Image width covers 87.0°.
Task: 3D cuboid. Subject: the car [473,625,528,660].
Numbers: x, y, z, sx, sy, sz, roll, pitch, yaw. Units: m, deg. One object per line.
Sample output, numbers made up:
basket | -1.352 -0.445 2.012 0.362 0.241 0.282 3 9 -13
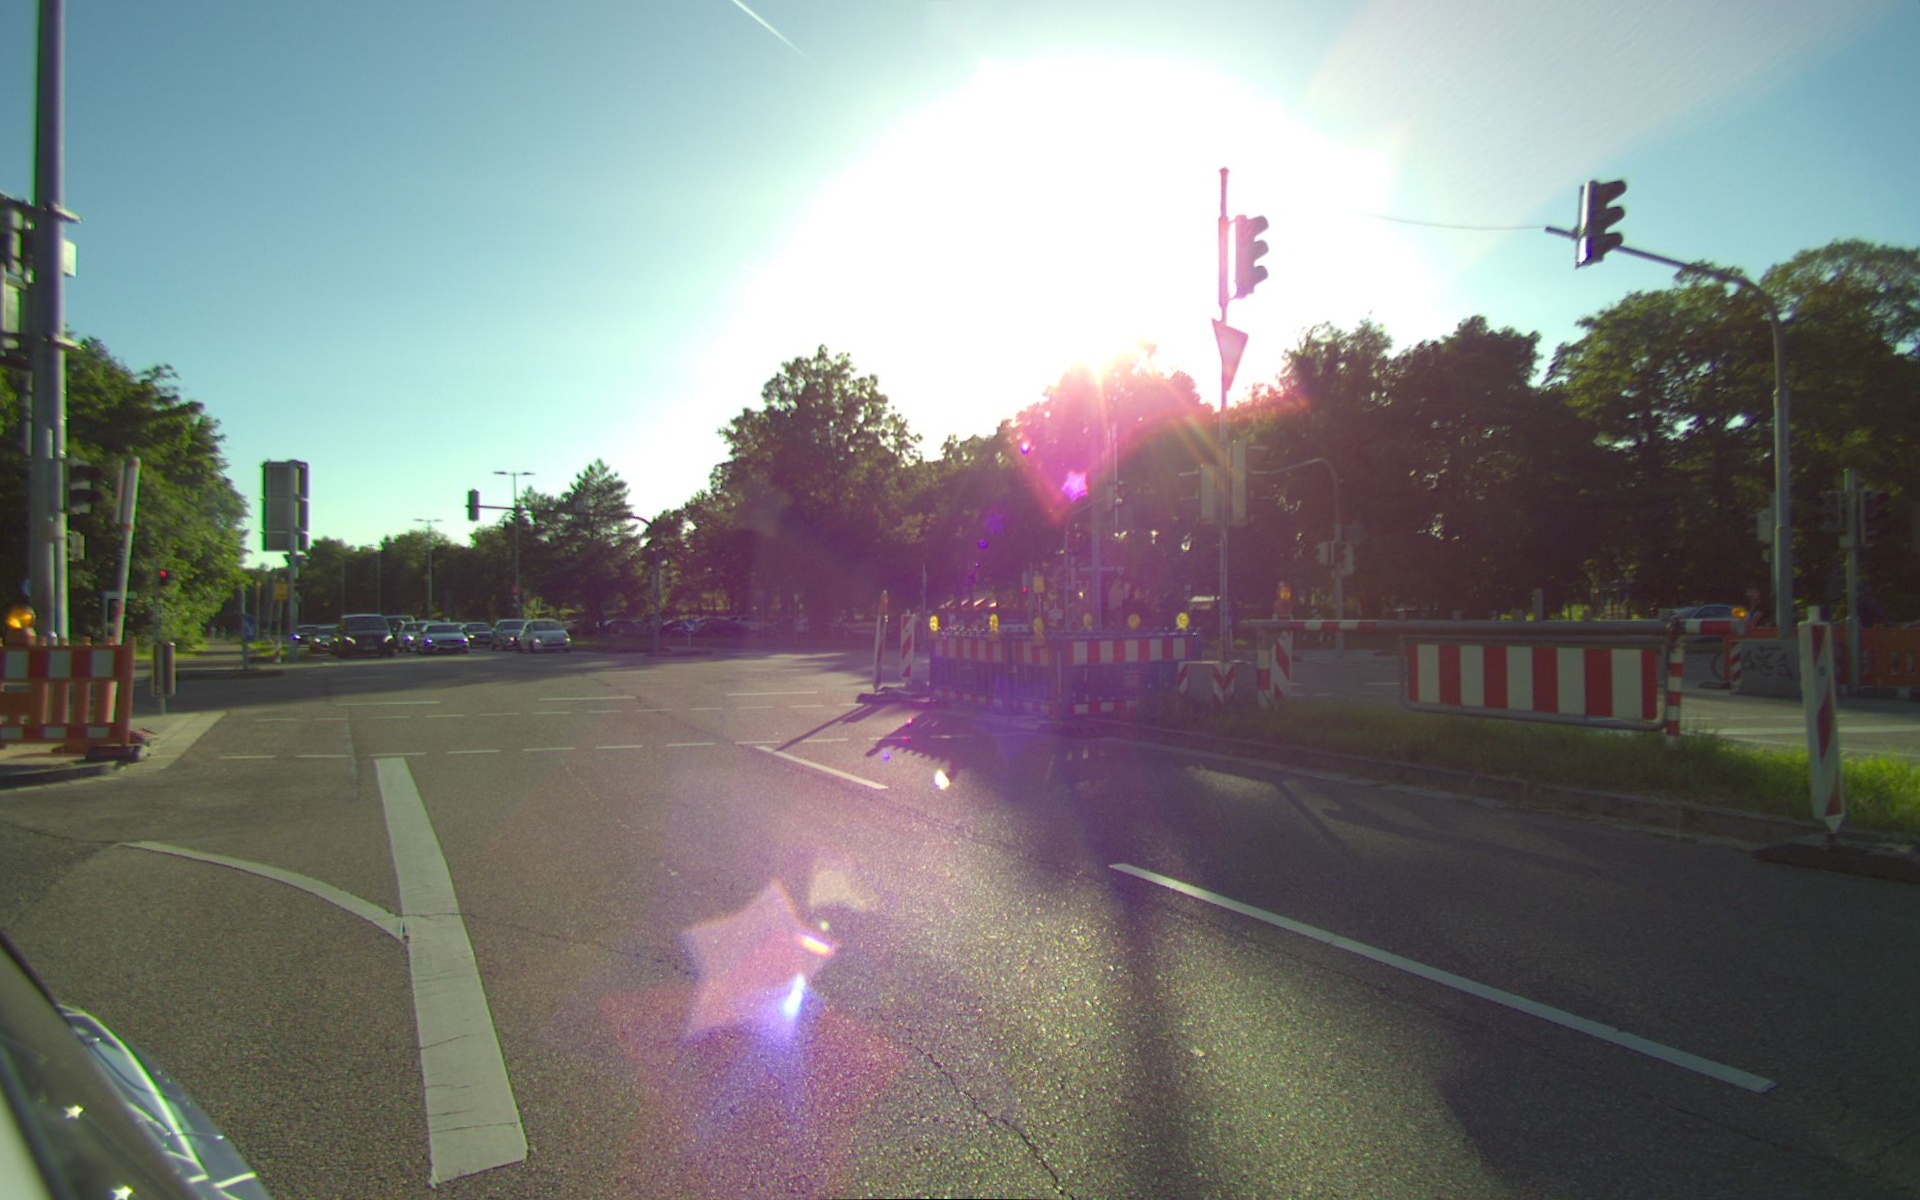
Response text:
car | -22.706 2.060 49.942 1.966 1.530 4.012 -1 0 -32

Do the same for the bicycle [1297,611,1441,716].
bicycle | 3.852 0.568 9.618 0.333 0.912 1.351 -1 0 -29

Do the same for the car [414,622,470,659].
car | -23.818 1.818 46.436 1.966 1.530 4.012 -1 0 -32

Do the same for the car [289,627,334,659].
car | -35.638 2.332 55.692 1.966 1.530 4.012 -1 0 -32

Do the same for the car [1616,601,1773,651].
car | 26.573 0.936 36.649 4.663 1.700 2.005 0 -1 -14

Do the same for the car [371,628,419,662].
car | -29.069 2.280 52.017 1.966 1.530 4.012 -1 0 -32

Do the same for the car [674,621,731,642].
car | -20.882 2.550 82.140 3.940 1.530 2.002 -1 0 -44

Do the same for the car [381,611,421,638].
car | -34.304 1.480 62.058 1.966 1.530 4.012 -1 0 -32

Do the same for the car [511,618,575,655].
car | -18.340 1.566 44.383 1.966 1.530 4.011 0 -1 -32

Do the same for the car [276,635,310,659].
car | -48.941 3.438 74.321 1.966 1.530 4.012 -1 0 -32

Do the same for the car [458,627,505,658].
car | -26.989 2.374 57.017 1.966 1.530 4.012 -1 0 -32

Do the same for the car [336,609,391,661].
car | -25.829 1.462 43.766 1.966 2.084 4.012 -1 0 -32
